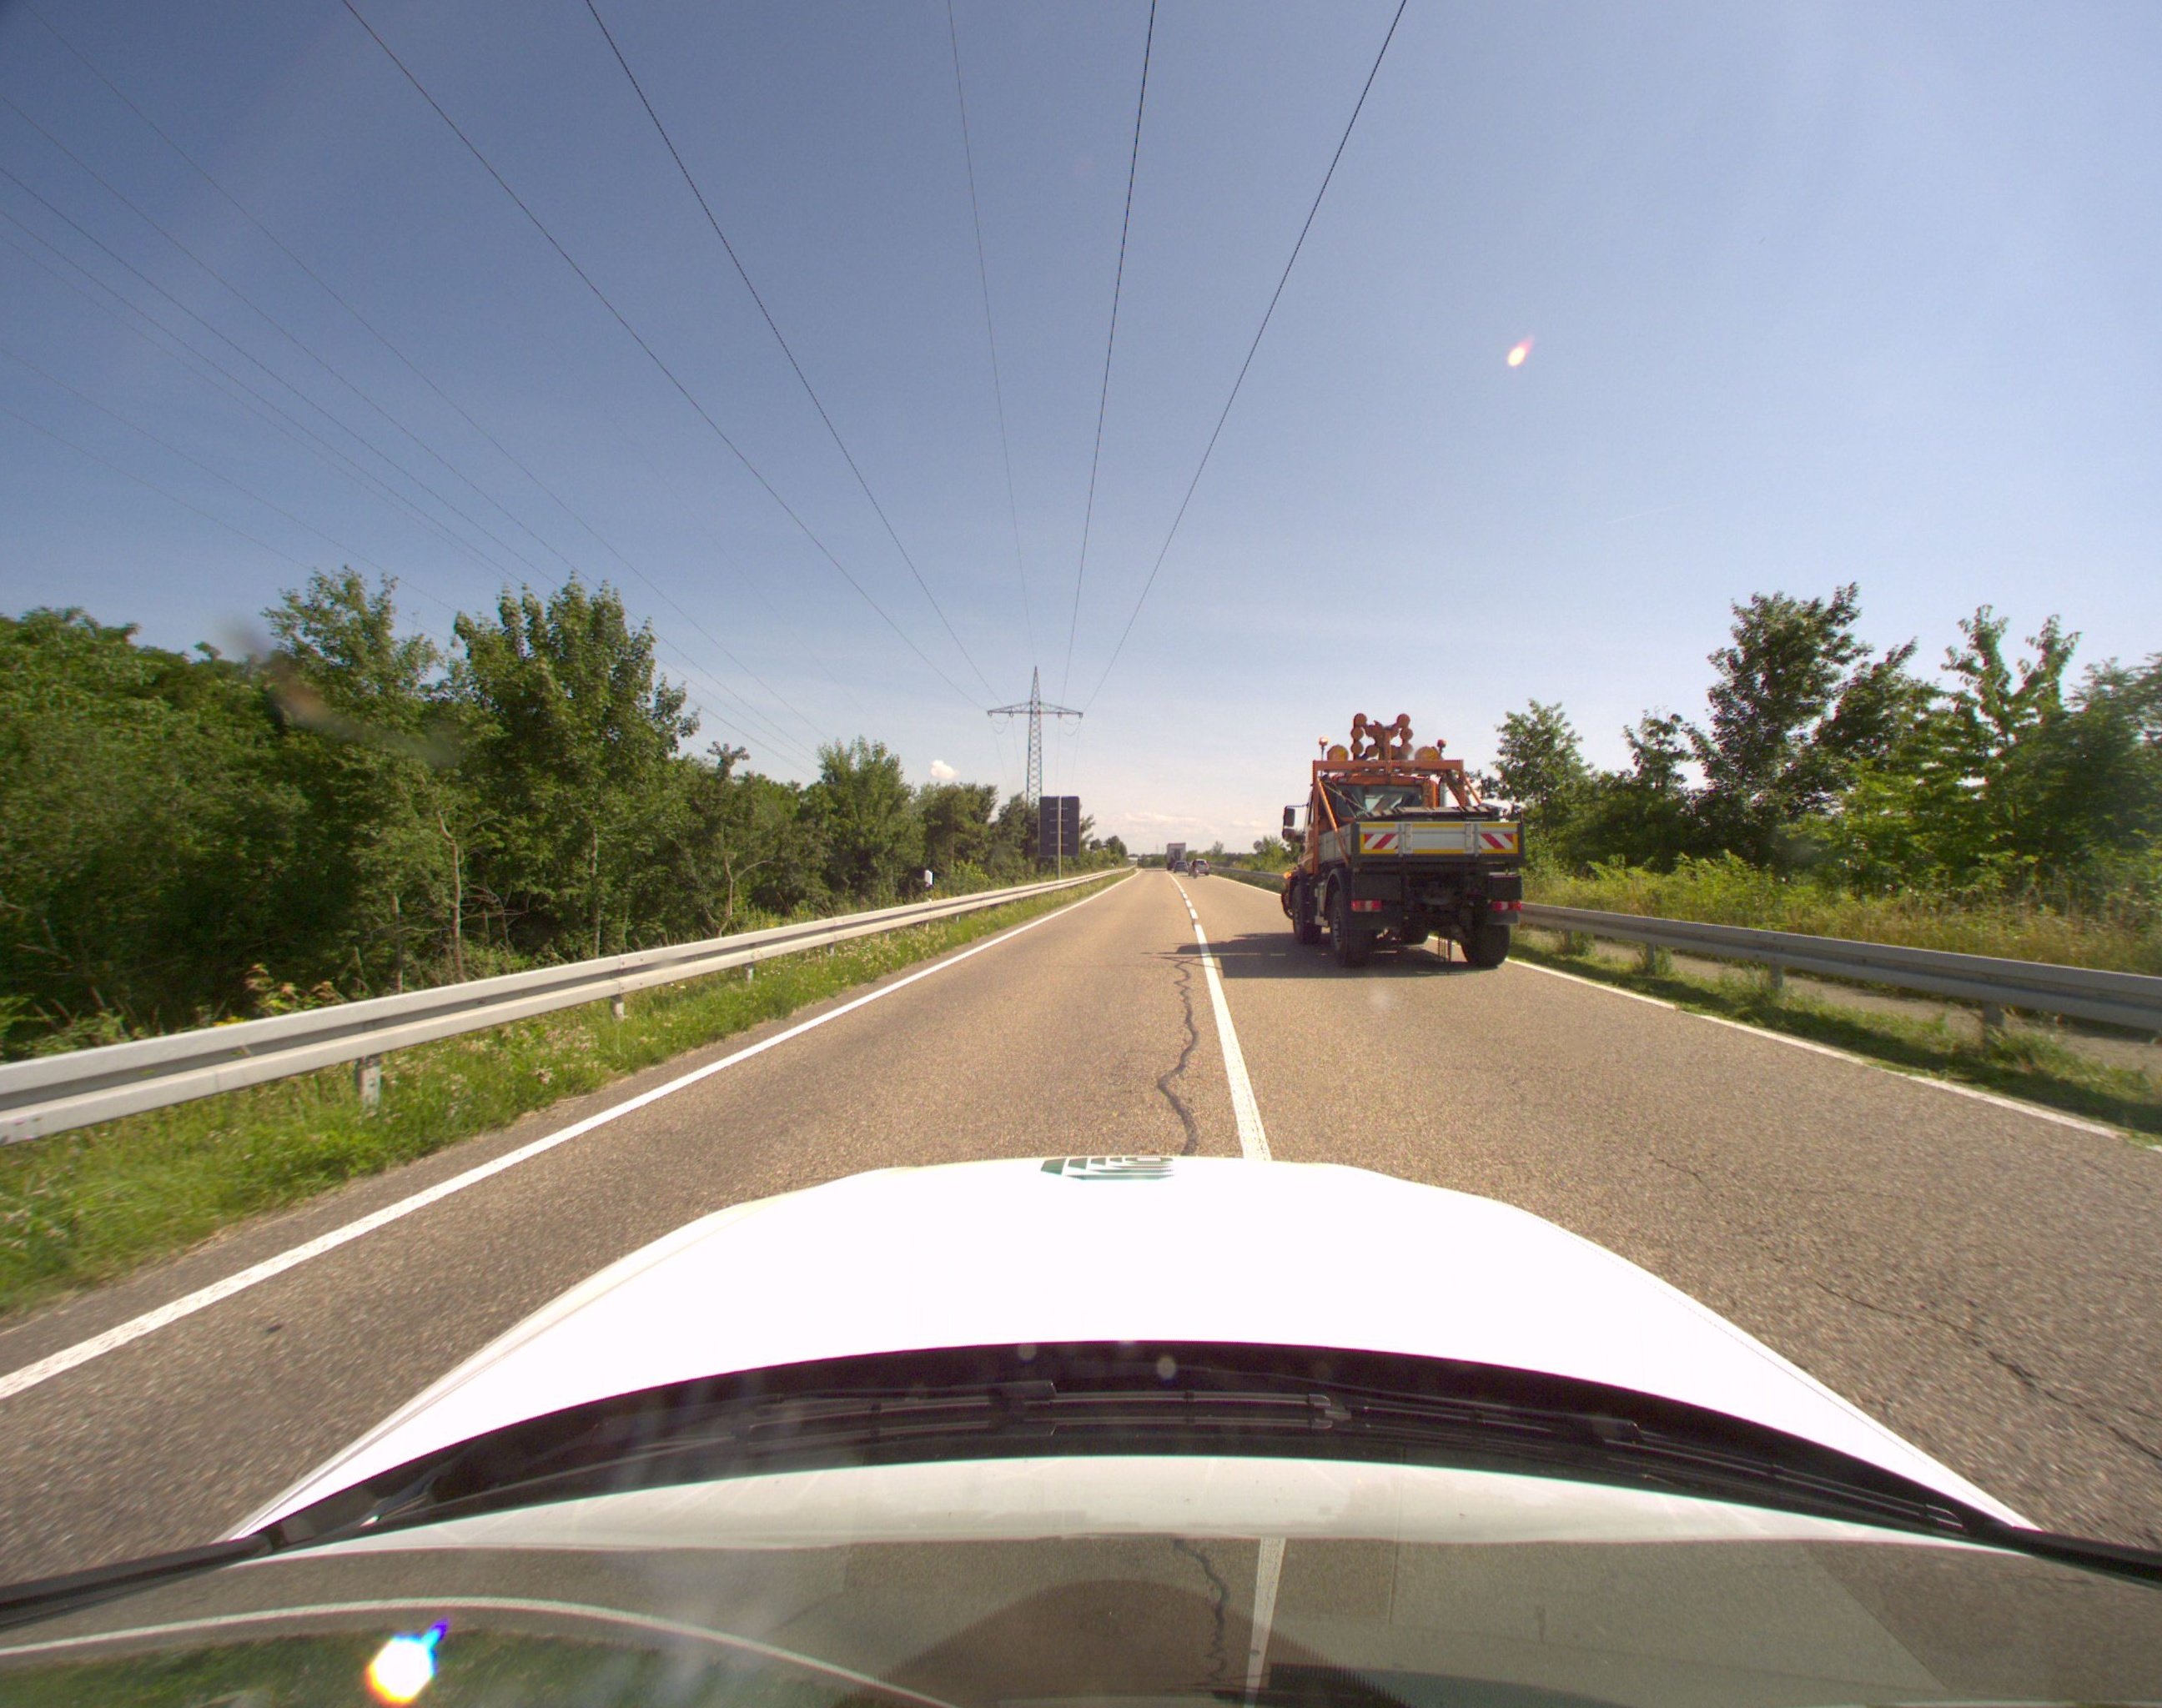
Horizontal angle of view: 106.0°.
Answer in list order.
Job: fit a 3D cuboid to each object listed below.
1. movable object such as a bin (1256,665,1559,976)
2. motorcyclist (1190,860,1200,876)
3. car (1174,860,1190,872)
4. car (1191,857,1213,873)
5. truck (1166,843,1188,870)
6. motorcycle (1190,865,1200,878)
[{"bbox_3d":[5.064,-0.388,14.878,2.739,3.839,9.462,-1,0,7],"label":"movable object such as a bin"},{"bbox_3d":[9.290,1.139,66.513,0.776,1.325,0.814,-1,-1,6],"label":"motorcyclist"},{"bbox_3d":[12.525,1.463,101.261,1.856,1.420,4.007,0,0,6],"label":"car"},{"bbox_3d":[11.572,1.050,78.008,1.816,1.451,4.006,-1,0,5],"label":"car"},{"bbox_3d":[14.621,0.437,124.231,3.225,3.979,9.460,-1,-1,6],"label":"truck"},{"bbox_3d":[9.280,1.430,66.491,0.776,0.975,2.365,-1,0,6],"label":"motorcycle"}]
